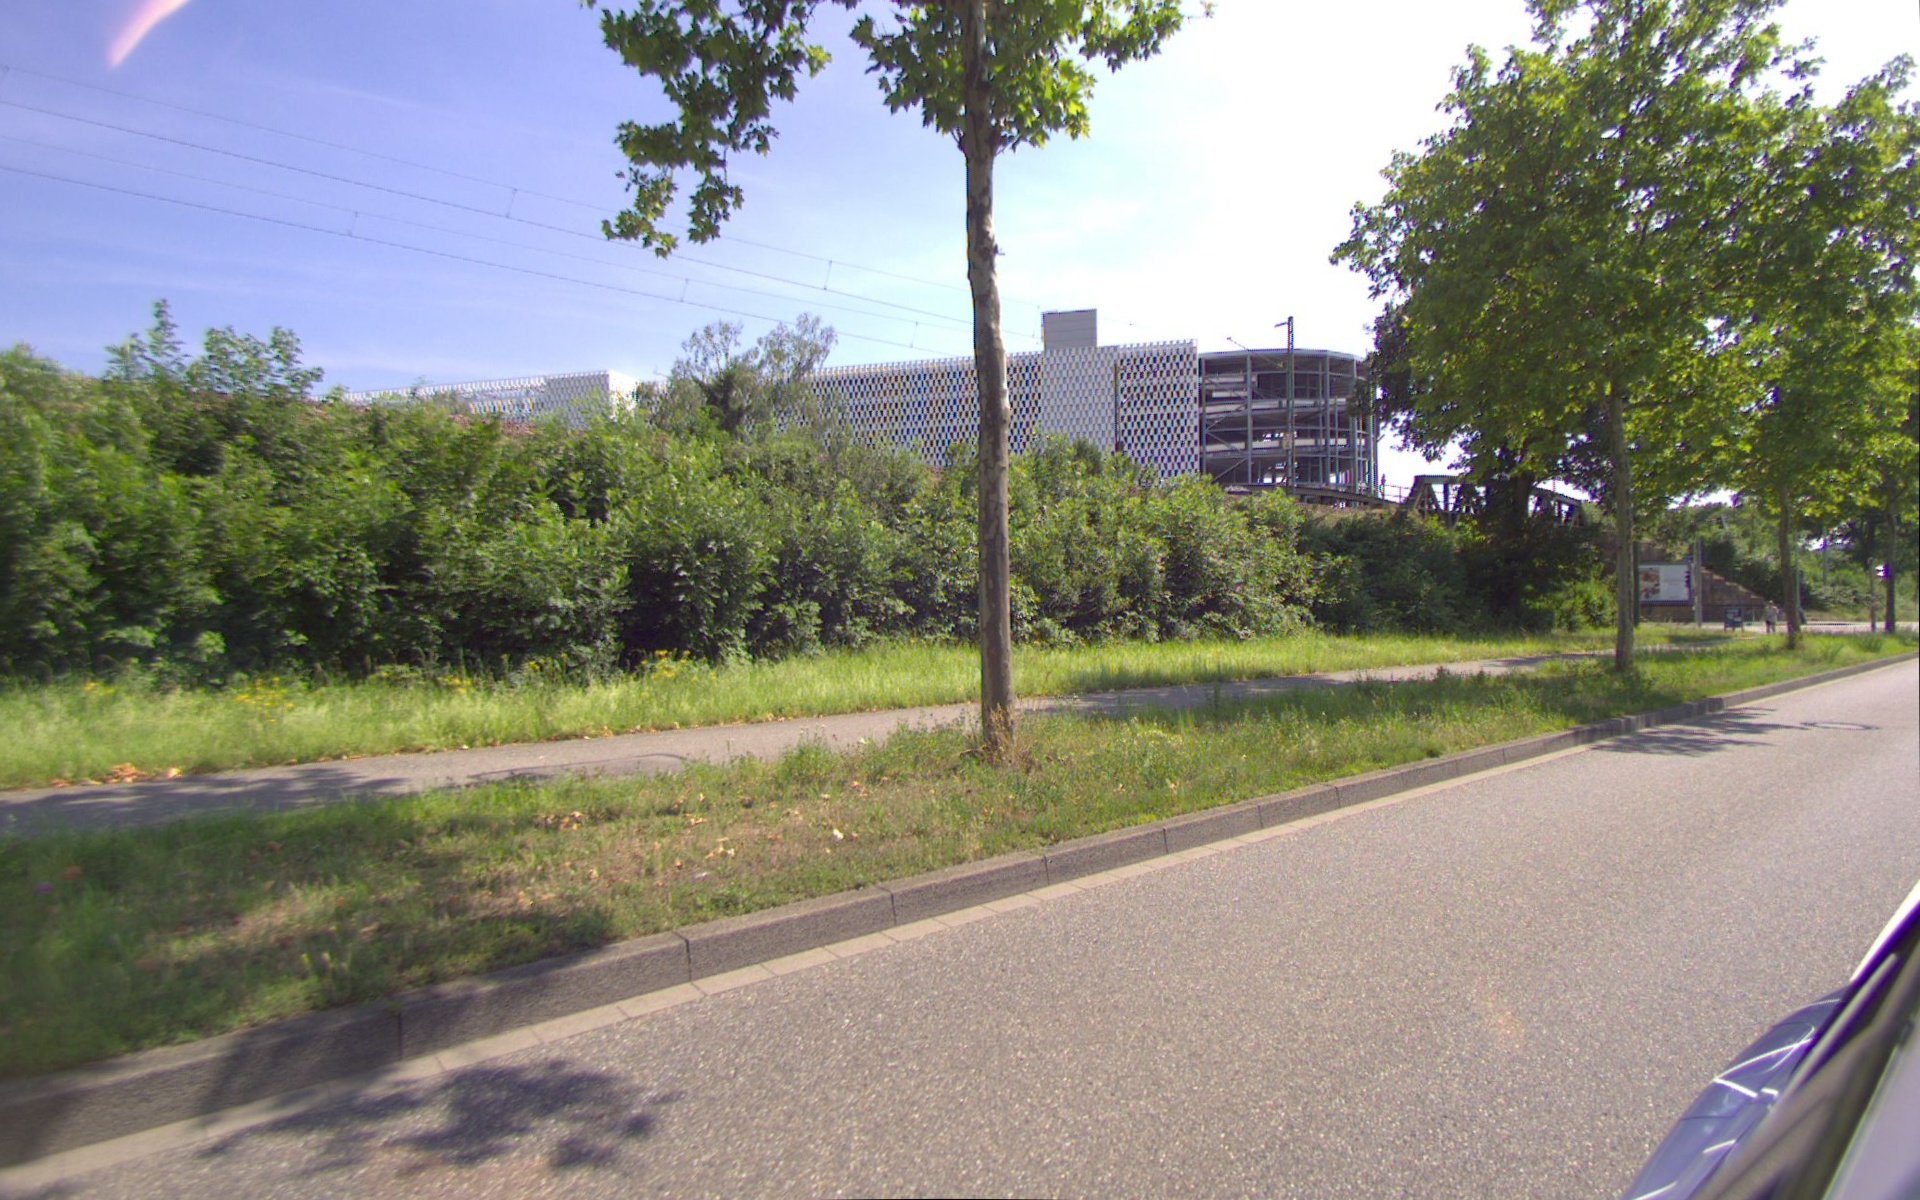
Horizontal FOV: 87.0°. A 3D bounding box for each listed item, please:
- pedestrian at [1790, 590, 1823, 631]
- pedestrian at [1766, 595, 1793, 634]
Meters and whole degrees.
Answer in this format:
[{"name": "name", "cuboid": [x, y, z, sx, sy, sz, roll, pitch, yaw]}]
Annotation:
[{"name": "pedestrian", "cuboid": [34.294, 0.428, 40.990, 0.764, 1.632, 0.869, 0, -1, -41]}, {"name": "pedestrian", "cuboid": [34.006, 0.589, 42.002, 0.764, 1.600, 0.730, 0, -1, -41]}]
